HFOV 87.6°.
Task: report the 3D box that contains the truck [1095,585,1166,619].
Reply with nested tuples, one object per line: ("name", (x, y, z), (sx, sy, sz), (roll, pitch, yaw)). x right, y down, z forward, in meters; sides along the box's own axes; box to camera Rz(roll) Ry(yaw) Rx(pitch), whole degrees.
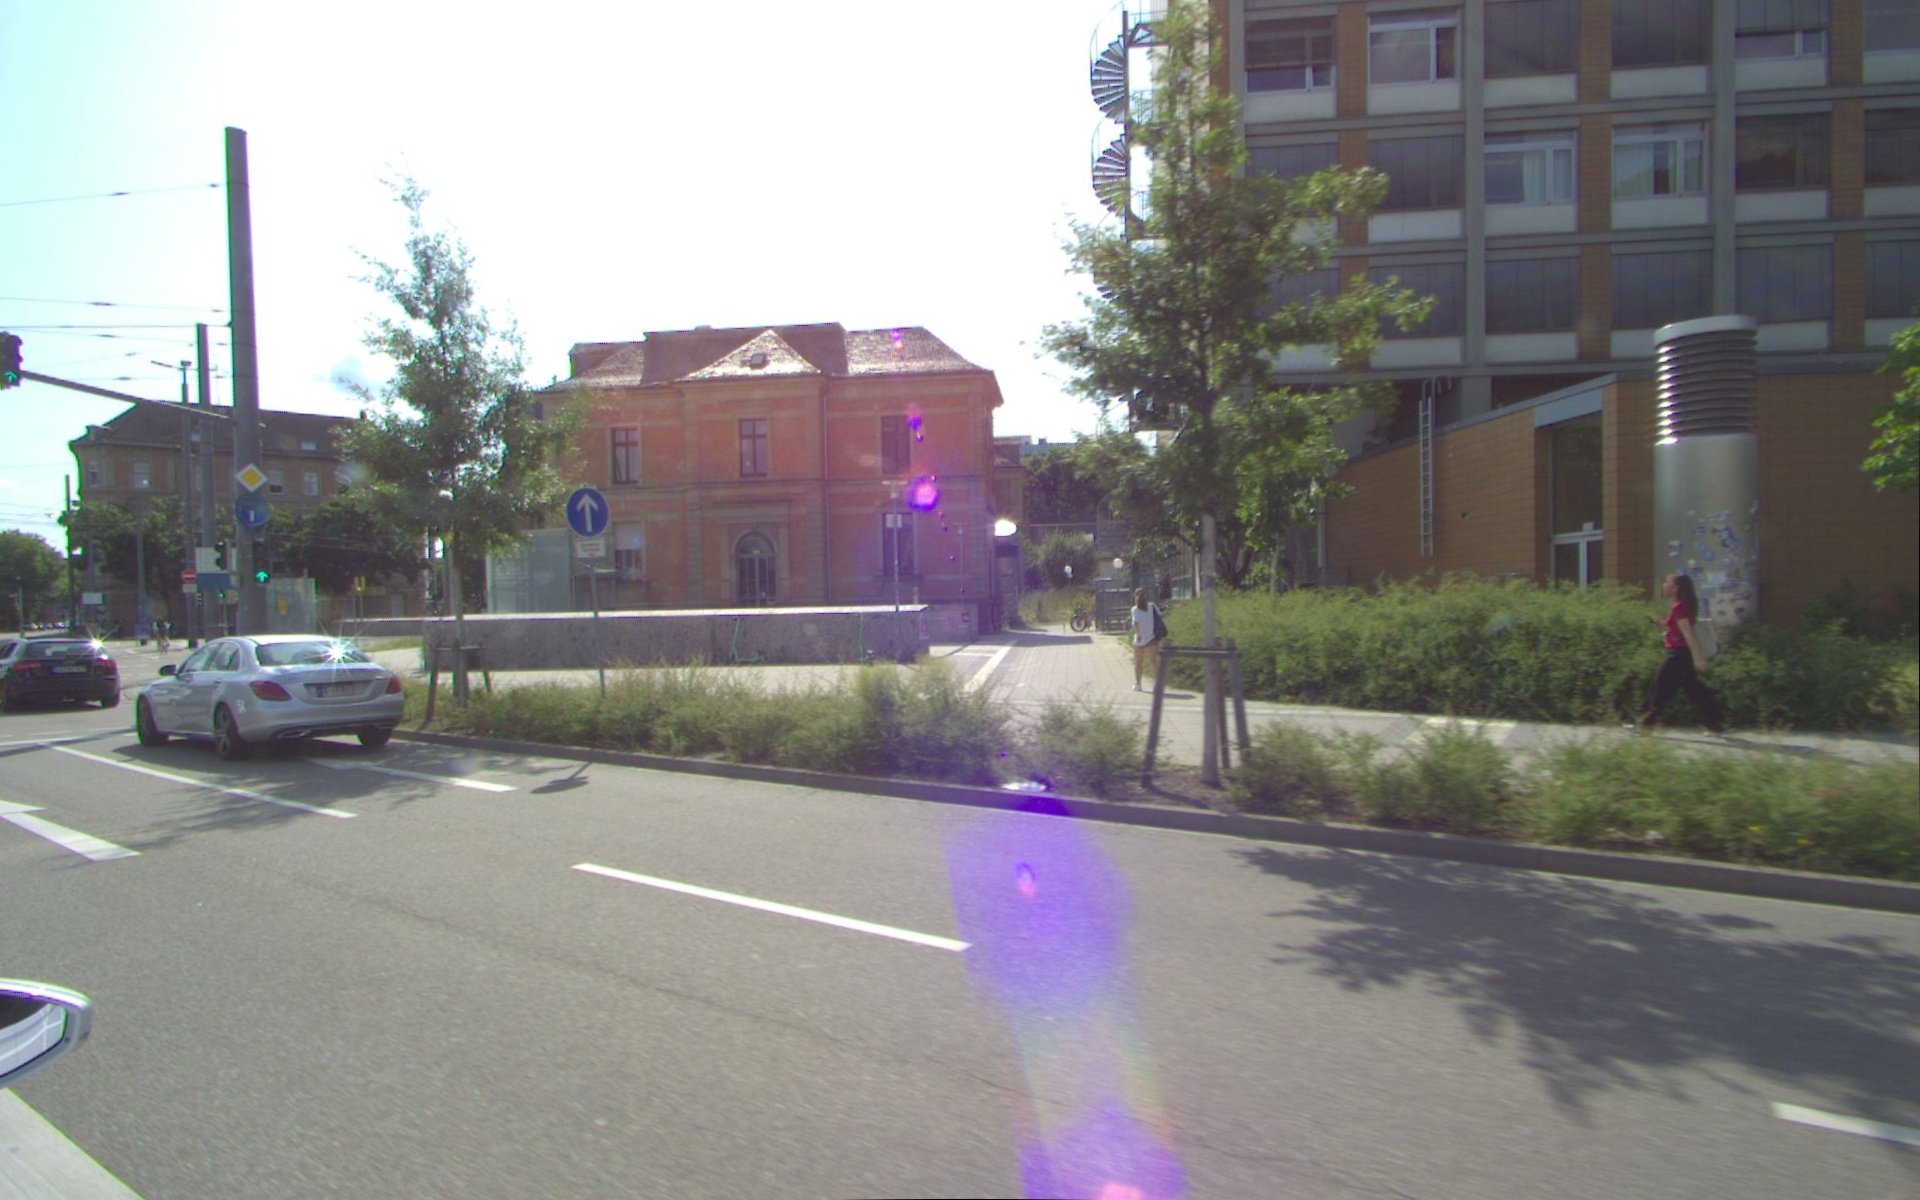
("truck", (10.798, 0.139, 63.491), (4.304, 2.039, 2.000), (-1, -2, 10))

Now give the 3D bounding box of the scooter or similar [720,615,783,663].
("scooter or similar", (-5.103, 0.962, 24.500), (1.420, 1.133, 0.465), (-1, 2, 12))

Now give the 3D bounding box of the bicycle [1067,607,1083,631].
("bicycle", (5.018, 0.814, 43.612), (0.536, 1.002, 1.507), (-4, 0, 3))

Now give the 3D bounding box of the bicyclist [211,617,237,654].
("bicyclist", (-25.668, 1.232, 34.920), (0.629, 1.237, 0.916), (-4, 3, -40))

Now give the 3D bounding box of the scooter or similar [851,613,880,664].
("scooter or similar", (-2.183, 0.875, 23.141), (0.457, 1.119, 1.316), (-2, 1, -14))

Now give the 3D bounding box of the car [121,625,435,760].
("car", (-9.047, 1.079, 13.144), (4.696, 1.474, 1.925), (-1, -1, 35))

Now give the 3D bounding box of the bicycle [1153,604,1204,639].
("bicycle", (7.004, 0.693, 32.183), (1.478, 1.002, 0.547), (-4, 1, 3))

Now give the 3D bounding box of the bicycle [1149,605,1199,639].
("bicycle", (7.049, 0.722, 32.971), (1.478, 1.002, 0.547), (-4, 1, 3))

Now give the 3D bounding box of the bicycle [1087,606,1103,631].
("bicycle", (5.860, 0.787, 43.604), (0.536, 1.002, 1.507), (-4, 0, 3))

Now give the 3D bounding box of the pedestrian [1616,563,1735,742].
("pedestrian", (6.973, 0.492, 9.762), (0.879, 1.645, 0.610), (-1, 3, 41))

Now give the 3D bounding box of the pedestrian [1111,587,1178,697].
("pedestrian", (2.876, 0.629, 15.718), (0.604, 1.645, 1.095), (-3, 2, -12))

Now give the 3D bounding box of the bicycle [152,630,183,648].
("bicycle", (-35.267, 1.731, 44.557), (1.599, 0.786, 0.583), (-1, 0, 34))

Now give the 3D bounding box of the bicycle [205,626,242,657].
("bicycle", (-25.774, 1.441, 35.027), (0.840, 0.983, 1.944), (-4, 3, -40))

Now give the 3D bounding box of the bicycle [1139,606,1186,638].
("bicycle", (7.003, 0.764, 34.620), (1.478, 1.002, 0.547), (-4, 1, 3))

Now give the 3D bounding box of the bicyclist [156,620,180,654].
("bicyclist", (-35.225, 1.653, 44.537), (0.763, 1.470, 0.606), (-1, 0, 34))

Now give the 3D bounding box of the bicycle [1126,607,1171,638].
("bicycle", (6.788, 0.823, 36.135), (1.478, 1.002, 0.547), (-4, 1, 3))

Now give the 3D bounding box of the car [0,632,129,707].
("car", (-18.804, 1.371, 20.754), (4.083, 1.390, 1.692), (-1, -2, 39))
